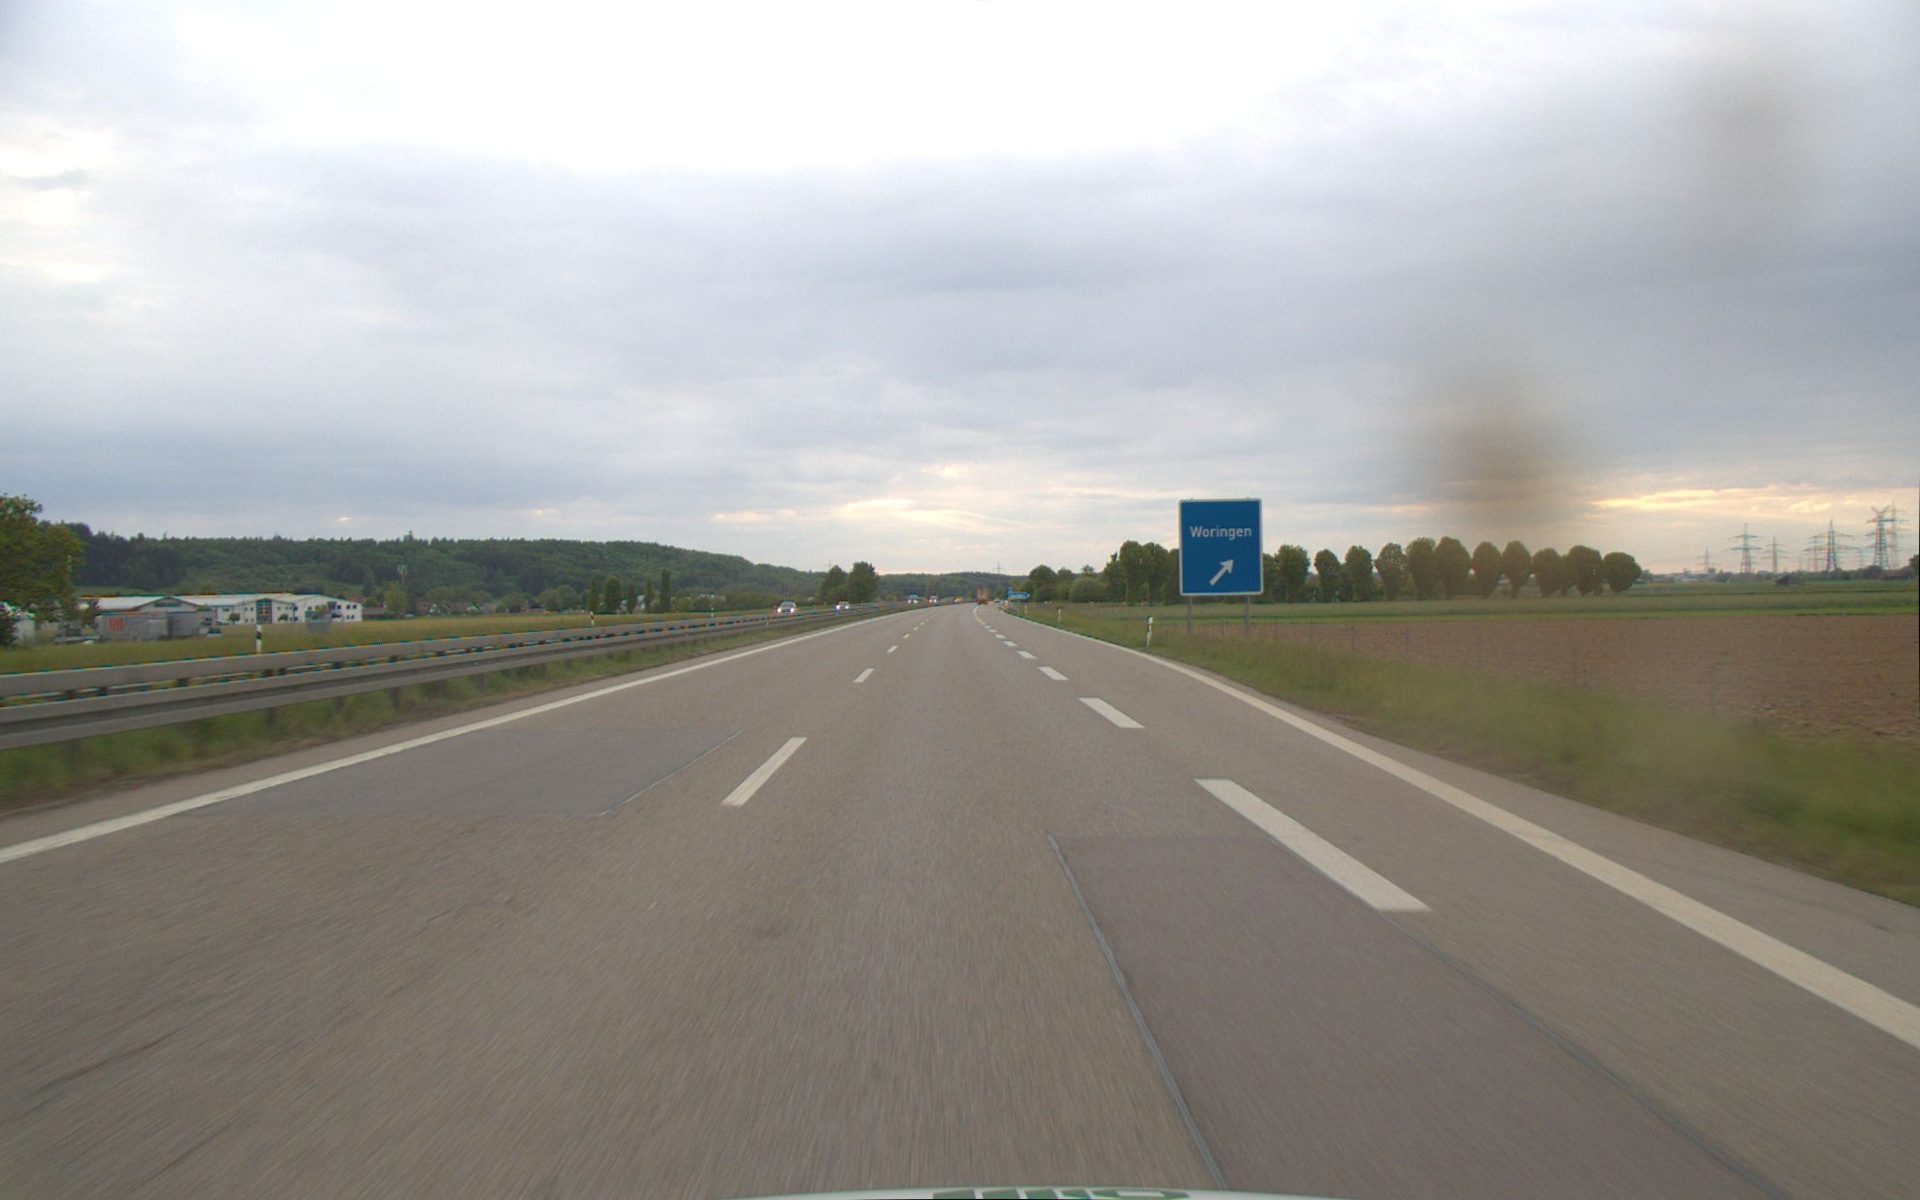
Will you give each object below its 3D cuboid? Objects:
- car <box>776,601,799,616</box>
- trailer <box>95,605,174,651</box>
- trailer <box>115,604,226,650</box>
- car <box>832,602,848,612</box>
[{"bbox_3d":[-17.321,0.863,166.238,1.953,1.506,4.451,1,0,-1],"label":"car"},{"bbox_3d":[-101.597,3.488,203.519,9.858,5.353,3.748,-2,-2,29],"label":"trailer"},{"bbox_3d":[-98.982,3.373,207.076,16.657,5.225,3.564,-2,-2,29],"label":"trailer"},{"bbox_3d":[-17.173,0.969,236.730,1.953,1.441,4.523,1,0,0],"label":"car"}]
